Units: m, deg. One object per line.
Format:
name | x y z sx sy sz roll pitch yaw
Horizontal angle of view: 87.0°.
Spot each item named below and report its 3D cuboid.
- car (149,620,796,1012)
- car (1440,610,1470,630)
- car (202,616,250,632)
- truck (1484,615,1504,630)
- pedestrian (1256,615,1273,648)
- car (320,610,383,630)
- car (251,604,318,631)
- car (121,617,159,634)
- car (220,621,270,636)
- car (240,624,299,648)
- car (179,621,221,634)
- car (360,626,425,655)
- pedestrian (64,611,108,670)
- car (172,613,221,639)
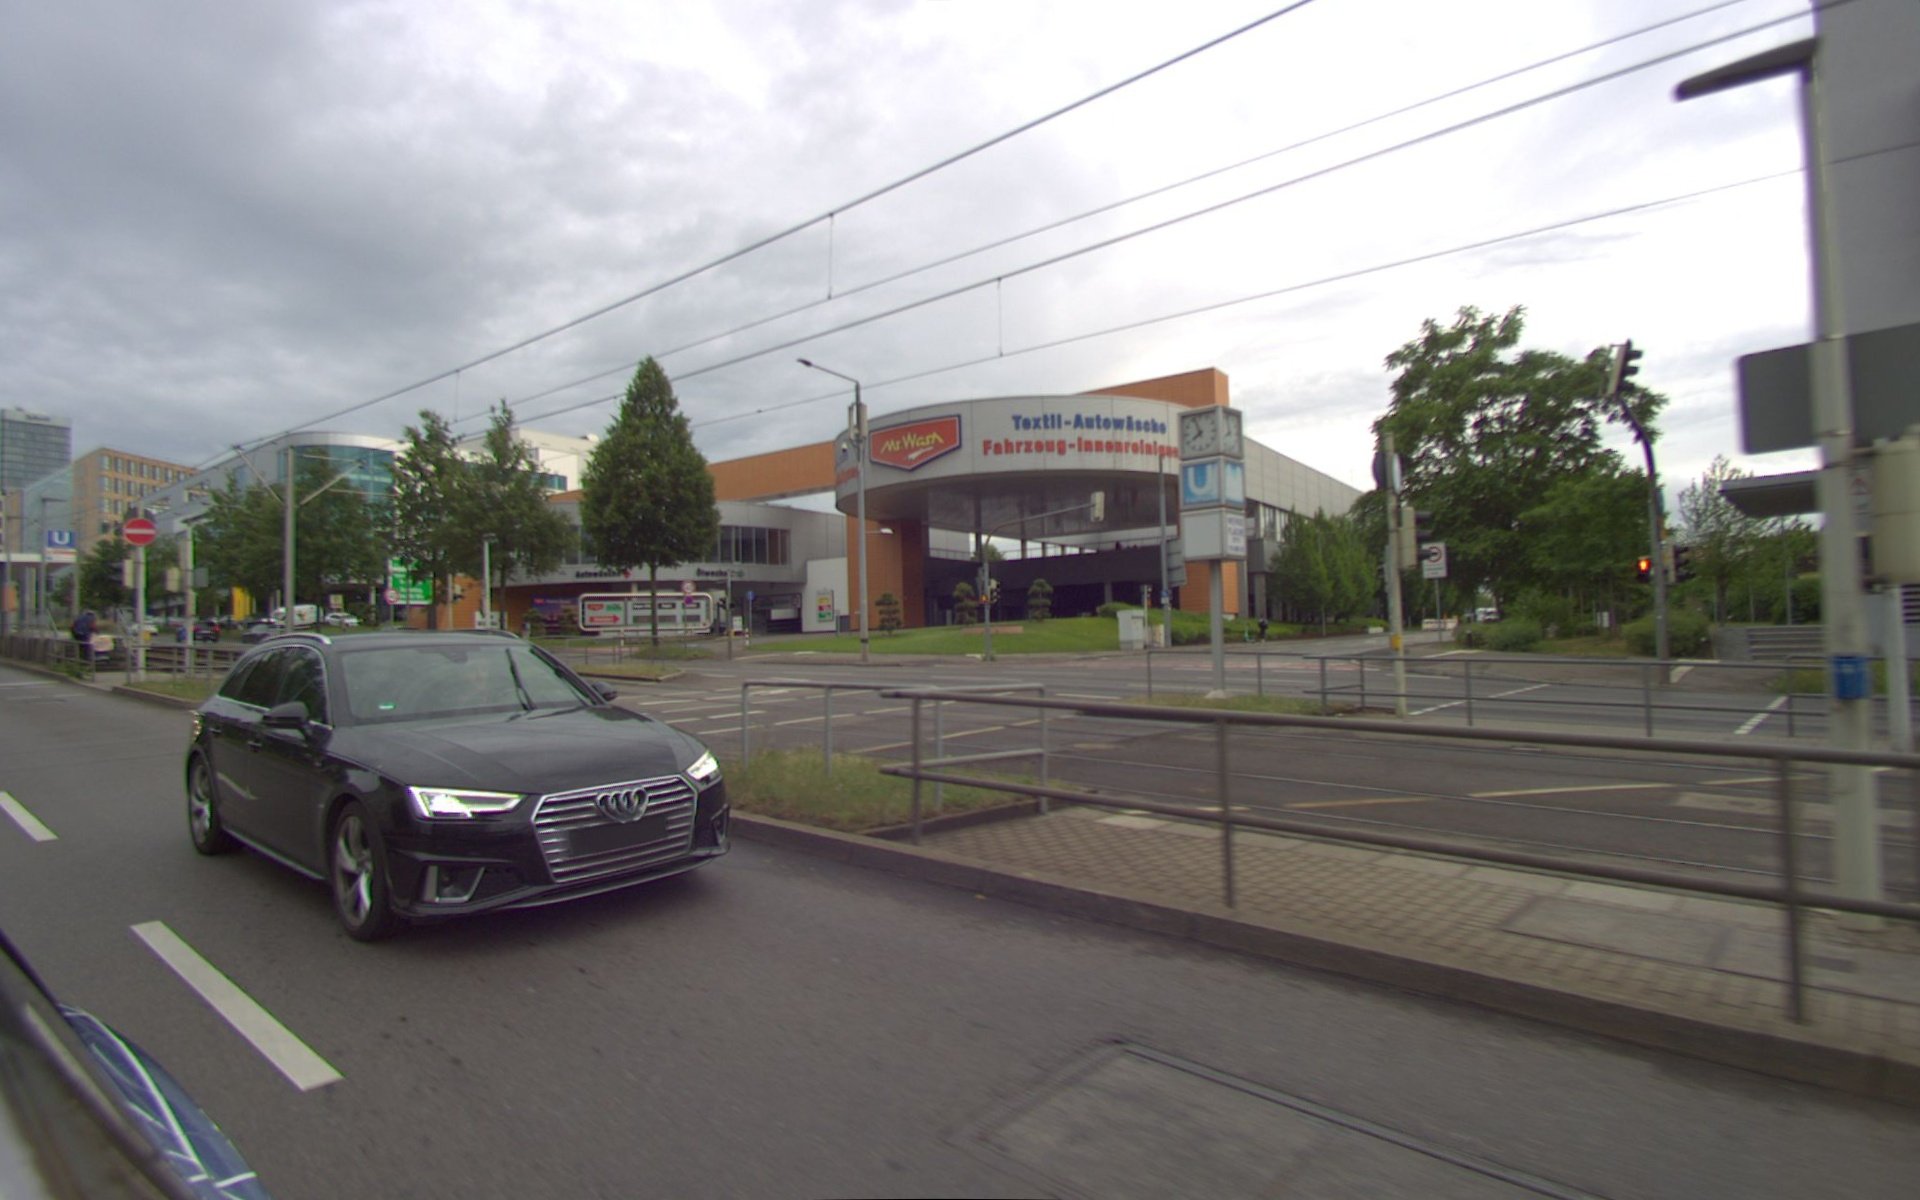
car | -3.238 0.878 6.103 4.826 1.445 1.771 -2 -1 41
car | 53.642 2.156 109.585 2.235 2.029 3.952 -1 1 36
car | -83.836 2.730 115.642 1.917 1.674 3.954 -1 1 34
truck | 74.709 3.098 141.647 2.212 2.029 4.692 -1 -1 31
pedestrian | 19.351 2.003 64.301 0.775 2.045 0.876 -1 -1 31
car | -66.221 2.128 110.182 2.274 1.940 5.420 -1 1 35
car | -69.879 1.772 104.789 2.265 2.648 5.441 -1 0 23
car | -80.727 2.498 99.651 4.702 1.529 1.974 -1 1 39
car | -77.430 3.064 109.615 1.891 1.519 3.956 -1 1 33
car | -43.147 2.223 63.184 4.384 1.438 1.835 -1 -3 39
car | -92.642 3.302 123.404 1.812 1.502 3.814 -1 -1 22
car | -29.179 2.048 52.001 3.777 1.434 1.710 -1 -1 41
pedestrian | -25.120 1.143 29.098 0.643 1.663 0.700 -1 -1 13
car | -55.095 1.846 73.008 4.387 1.788 1.972 -1 -1 41
